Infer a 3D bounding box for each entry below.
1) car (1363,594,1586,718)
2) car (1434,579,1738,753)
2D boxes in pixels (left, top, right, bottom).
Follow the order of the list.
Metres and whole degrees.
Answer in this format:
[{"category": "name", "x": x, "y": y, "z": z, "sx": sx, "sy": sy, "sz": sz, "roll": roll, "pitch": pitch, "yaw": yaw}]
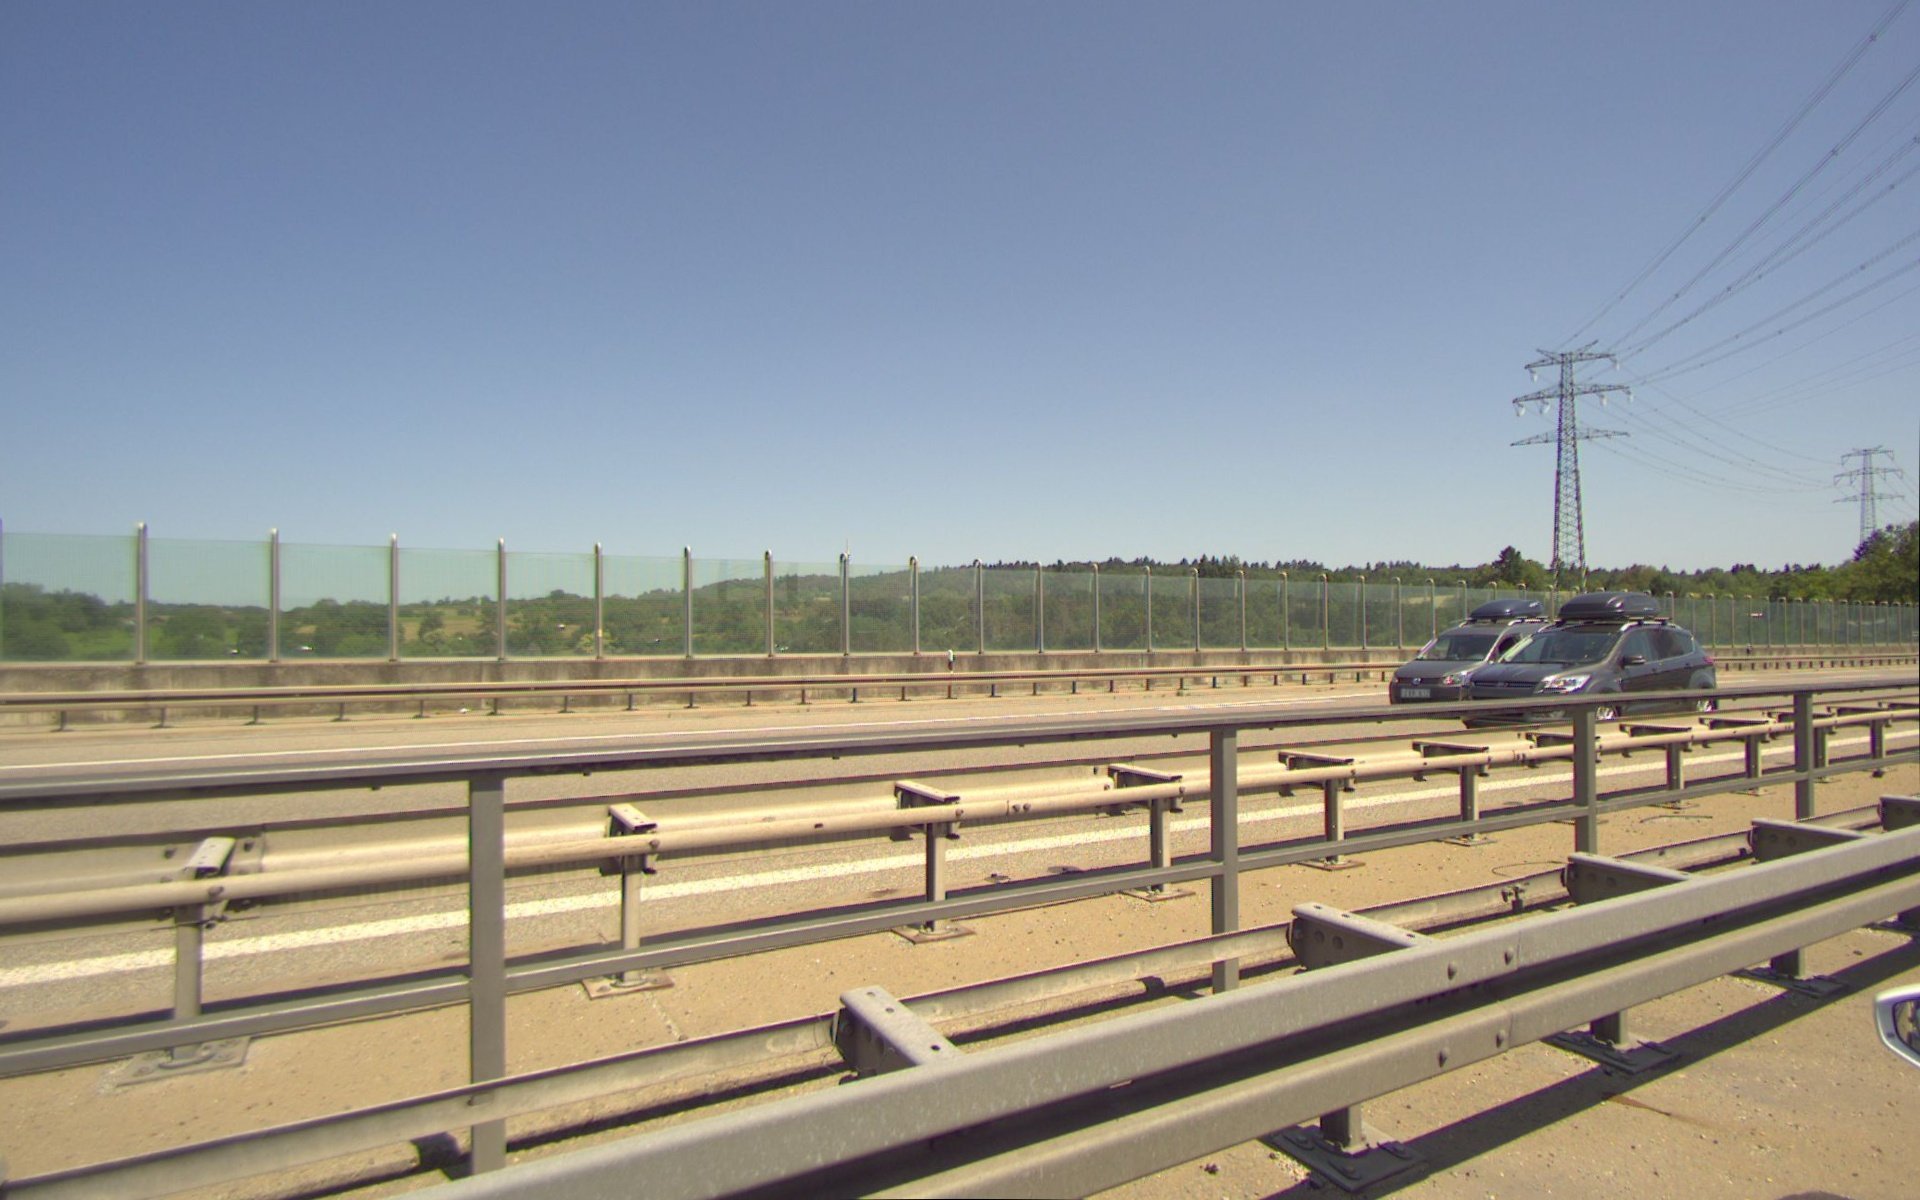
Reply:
[{"category": "car", "x": 10.301, "y": 1.094, "z": 20.071, "sx": 4.219, "sy": 2.244, "sz": 1.984, "roll": 1, "pitch": -3, "yaw": -31}, {"category": "car", "x": 8.950, "y": 0.900, "z": 14.324, "sx": 4.217, "sy": 2.158, "sz": 1.855, "roll": 1, "pitch": -3, "yaw": -30}]
